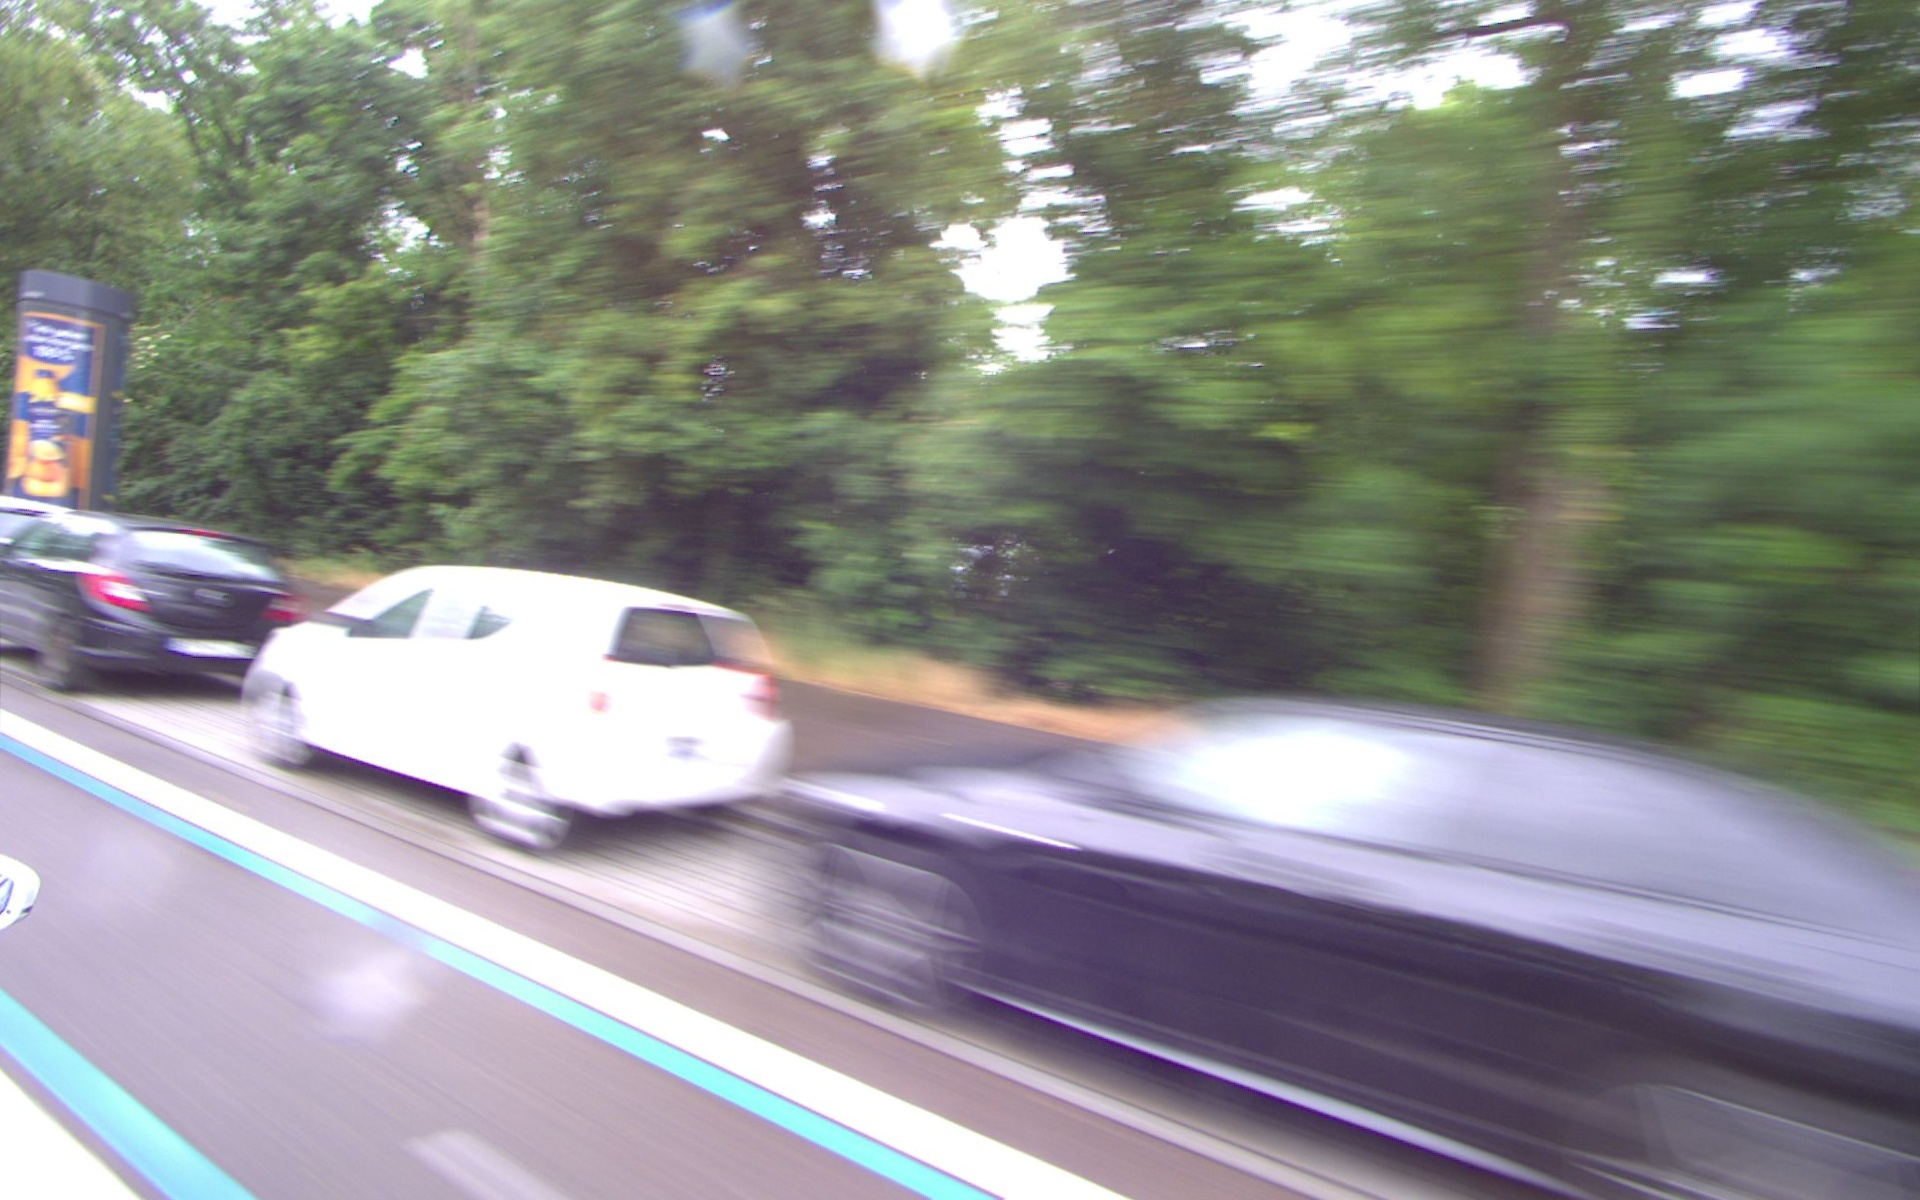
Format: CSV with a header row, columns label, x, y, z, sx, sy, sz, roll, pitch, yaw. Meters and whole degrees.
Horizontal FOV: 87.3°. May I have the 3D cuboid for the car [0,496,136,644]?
label,x,y,z,sx,sy,sz,roll,pitch,yaw
car,-11.686,-0.525,11.840,3.931,1.483,1.622,7,-2,29

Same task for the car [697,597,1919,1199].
label,x,y,z,sx,sy,sz,roll,pitch,yaw
car,1.408,1.049,3.924,4.671,1.472,1.860,7,-1,31

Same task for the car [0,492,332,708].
label,x,y,z,sx,sy,sz,roll,pitch,yaw
car,-7.749,-0.072,9.306,3.836,1.481,1.663,7,-2,32

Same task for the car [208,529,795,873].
label,x,y,z,sx,sy,sz,roll,pitch,yaw
car,-3.072,0.512,6.599,3.613,1.477,1.563,7,-1,30
